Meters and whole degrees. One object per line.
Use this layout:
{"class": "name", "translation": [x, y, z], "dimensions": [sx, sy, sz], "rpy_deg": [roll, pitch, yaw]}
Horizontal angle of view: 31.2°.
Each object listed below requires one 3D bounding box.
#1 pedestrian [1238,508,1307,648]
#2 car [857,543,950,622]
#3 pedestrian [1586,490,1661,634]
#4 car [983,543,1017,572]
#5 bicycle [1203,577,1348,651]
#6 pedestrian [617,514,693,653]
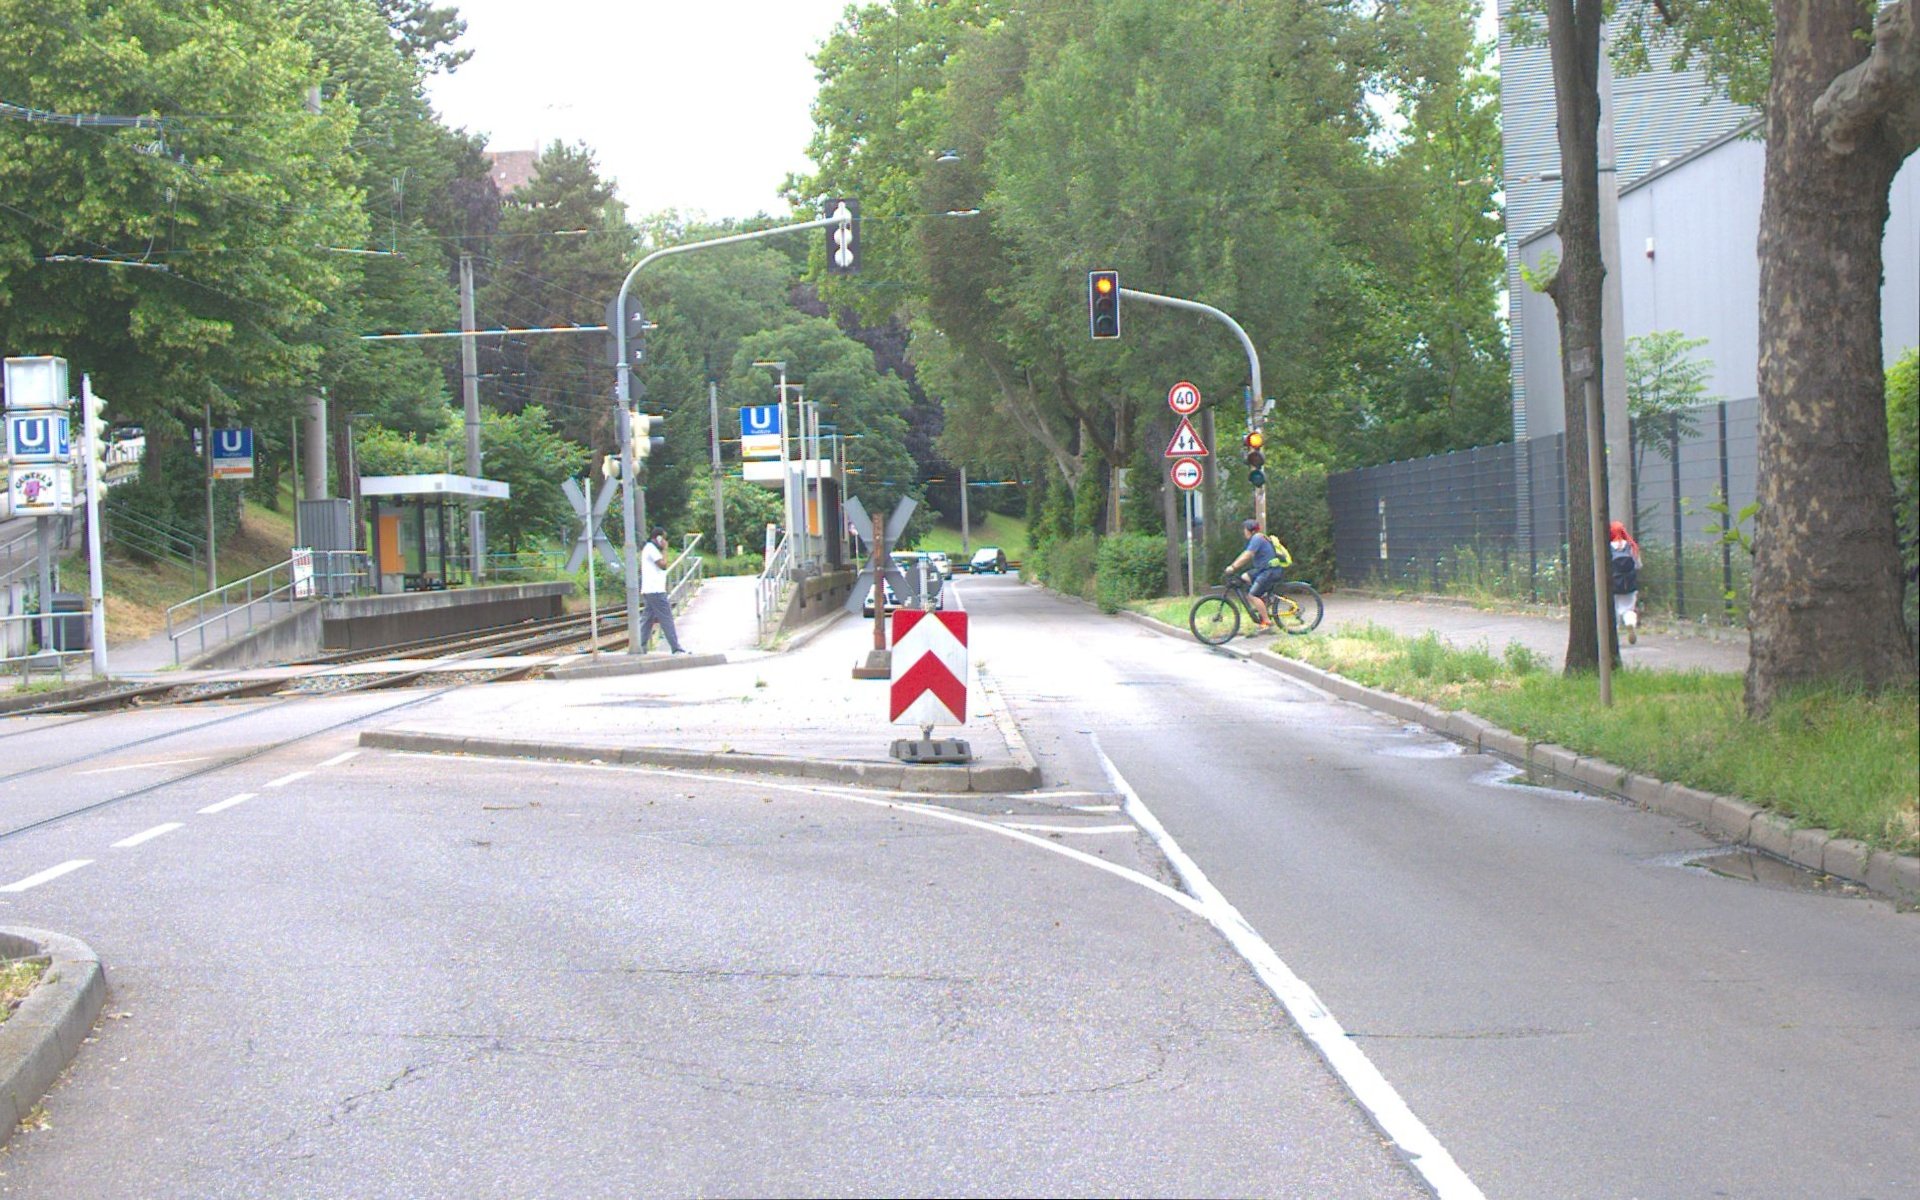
{"class": "pedestrian", "translation": [4.574, -0.320, 50.347], "dimensions": [0.931, 2.007, 0.668], "rpy_deg": [-2, 1, 5]}
{"class": "car", "translation": [-1.274, -0.425, 78.029], "dimensions": [1.993, 1.656, 4.000], "rpy_deg": [-2, 1, -1]}
{"class": "pedestrian", "translation": [7.338, -0.427, 38.052], "dimensions": [0.666, 1.548, 0.934], "rpy_deg": [-2, 1, 5]}
{"class": "car", "translation": [2.489, -2.620, 212.339], "dimensions": [1.993, 1.656, 4.000], "rpy_deg": [4, 1, 1]}
{"class": "bicycle", "translation": [4.619, 0.200, 50.354], "dimensions": [2.075, 1.003, 0.668], "rpy_deg": [-2, 1, 6]}
{"class": "pedestrian", "translation": [-4.165, -0.227, 46.953], "dimensions": [0.907, 1.846, 0.771], "rpy_deg": [-2, 1, 0]}
